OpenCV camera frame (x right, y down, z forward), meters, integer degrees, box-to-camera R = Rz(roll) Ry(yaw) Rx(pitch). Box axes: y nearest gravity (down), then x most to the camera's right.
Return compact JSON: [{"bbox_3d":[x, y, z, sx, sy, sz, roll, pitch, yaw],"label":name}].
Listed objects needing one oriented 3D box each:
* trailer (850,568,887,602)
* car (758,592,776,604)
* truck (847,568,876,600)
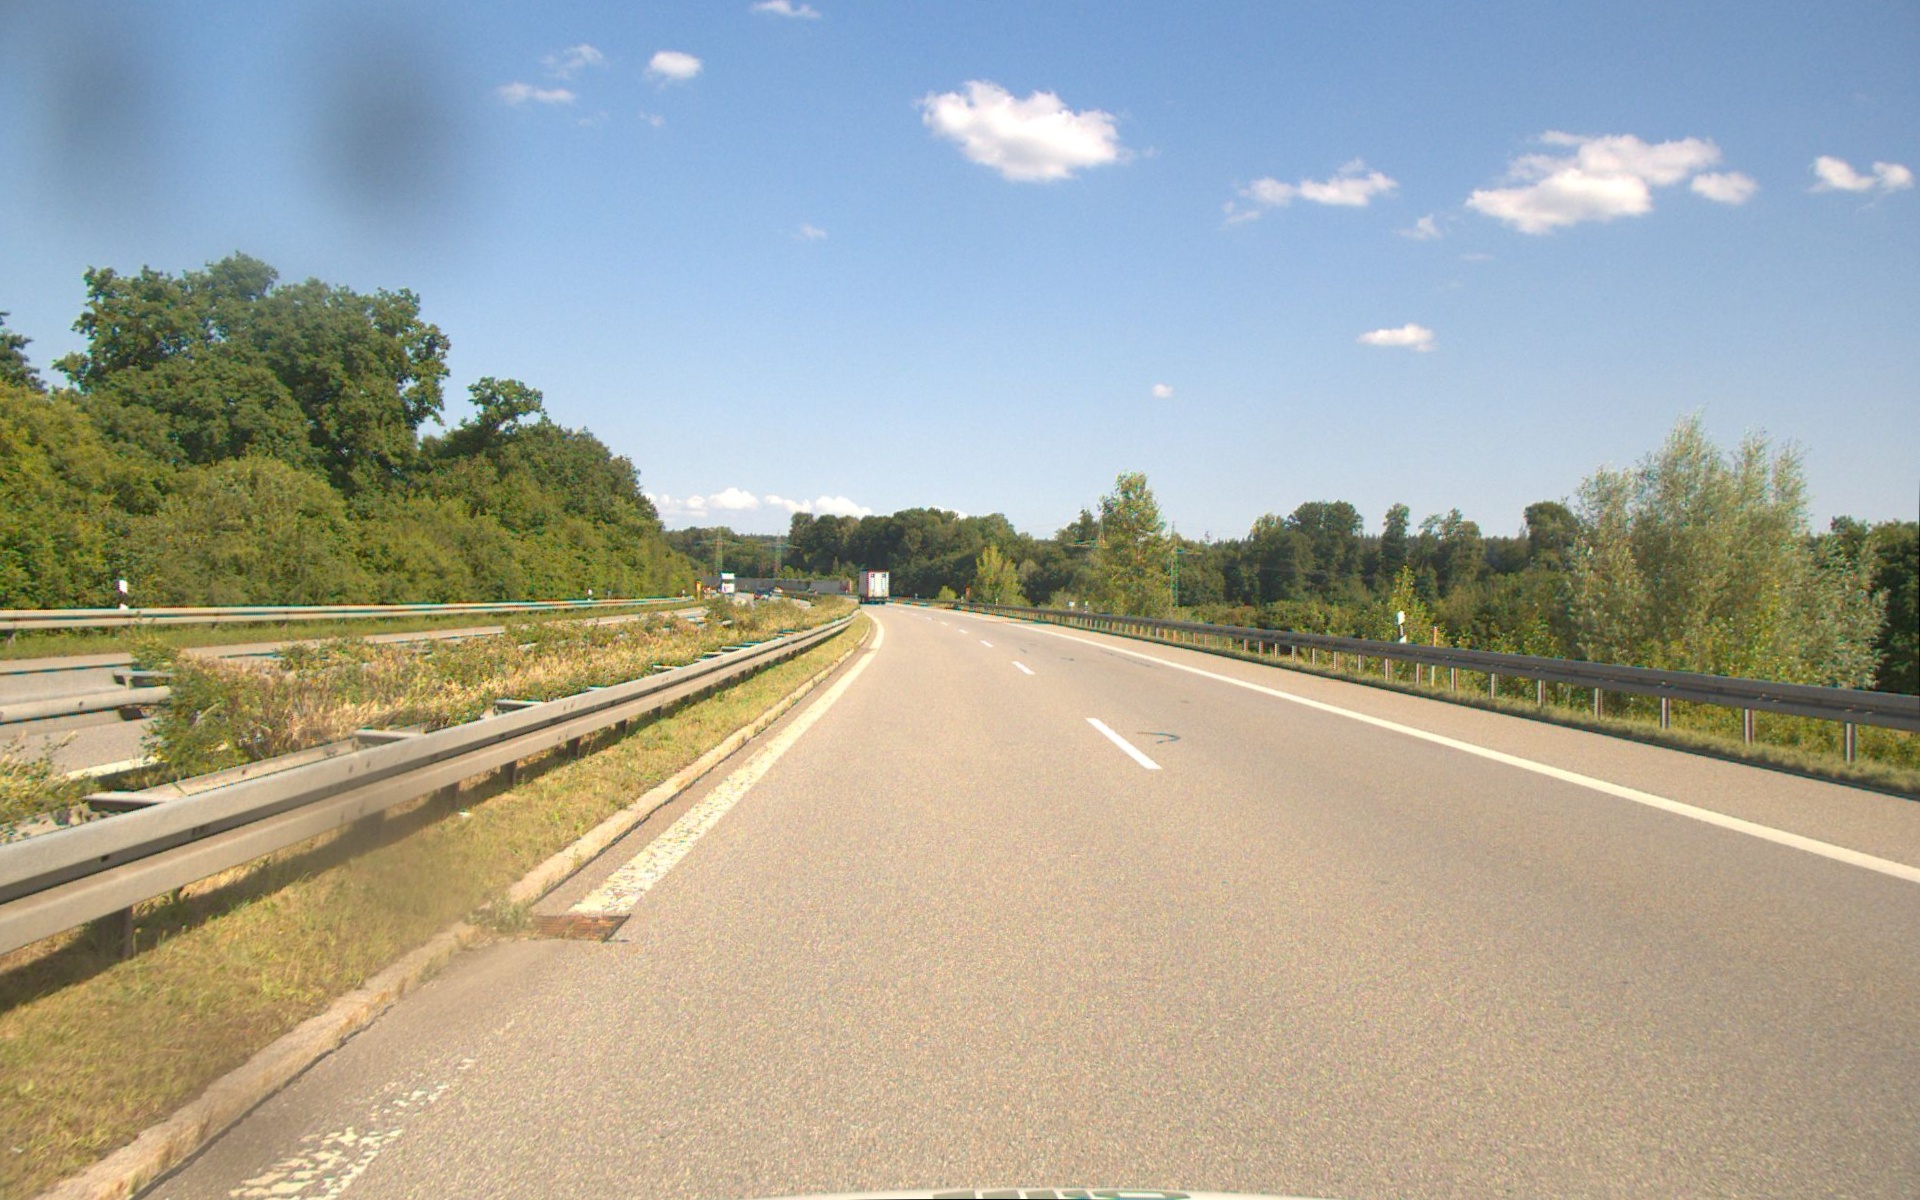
[{"bbox_3d":[-11.557,-1.948,208.594,2.833,4.137,12.384,0,1,-12],"label":"trailer"},{"bbox_3d":[-23.651,-0.256,202.543,1.956,1.457,4.478,0,1,-8],"label":"car"},{"bbox_3d":[-12.863,-2.062,214.794,2.781,4.082,6.566,0,1,-13],"label":"truck"}]
